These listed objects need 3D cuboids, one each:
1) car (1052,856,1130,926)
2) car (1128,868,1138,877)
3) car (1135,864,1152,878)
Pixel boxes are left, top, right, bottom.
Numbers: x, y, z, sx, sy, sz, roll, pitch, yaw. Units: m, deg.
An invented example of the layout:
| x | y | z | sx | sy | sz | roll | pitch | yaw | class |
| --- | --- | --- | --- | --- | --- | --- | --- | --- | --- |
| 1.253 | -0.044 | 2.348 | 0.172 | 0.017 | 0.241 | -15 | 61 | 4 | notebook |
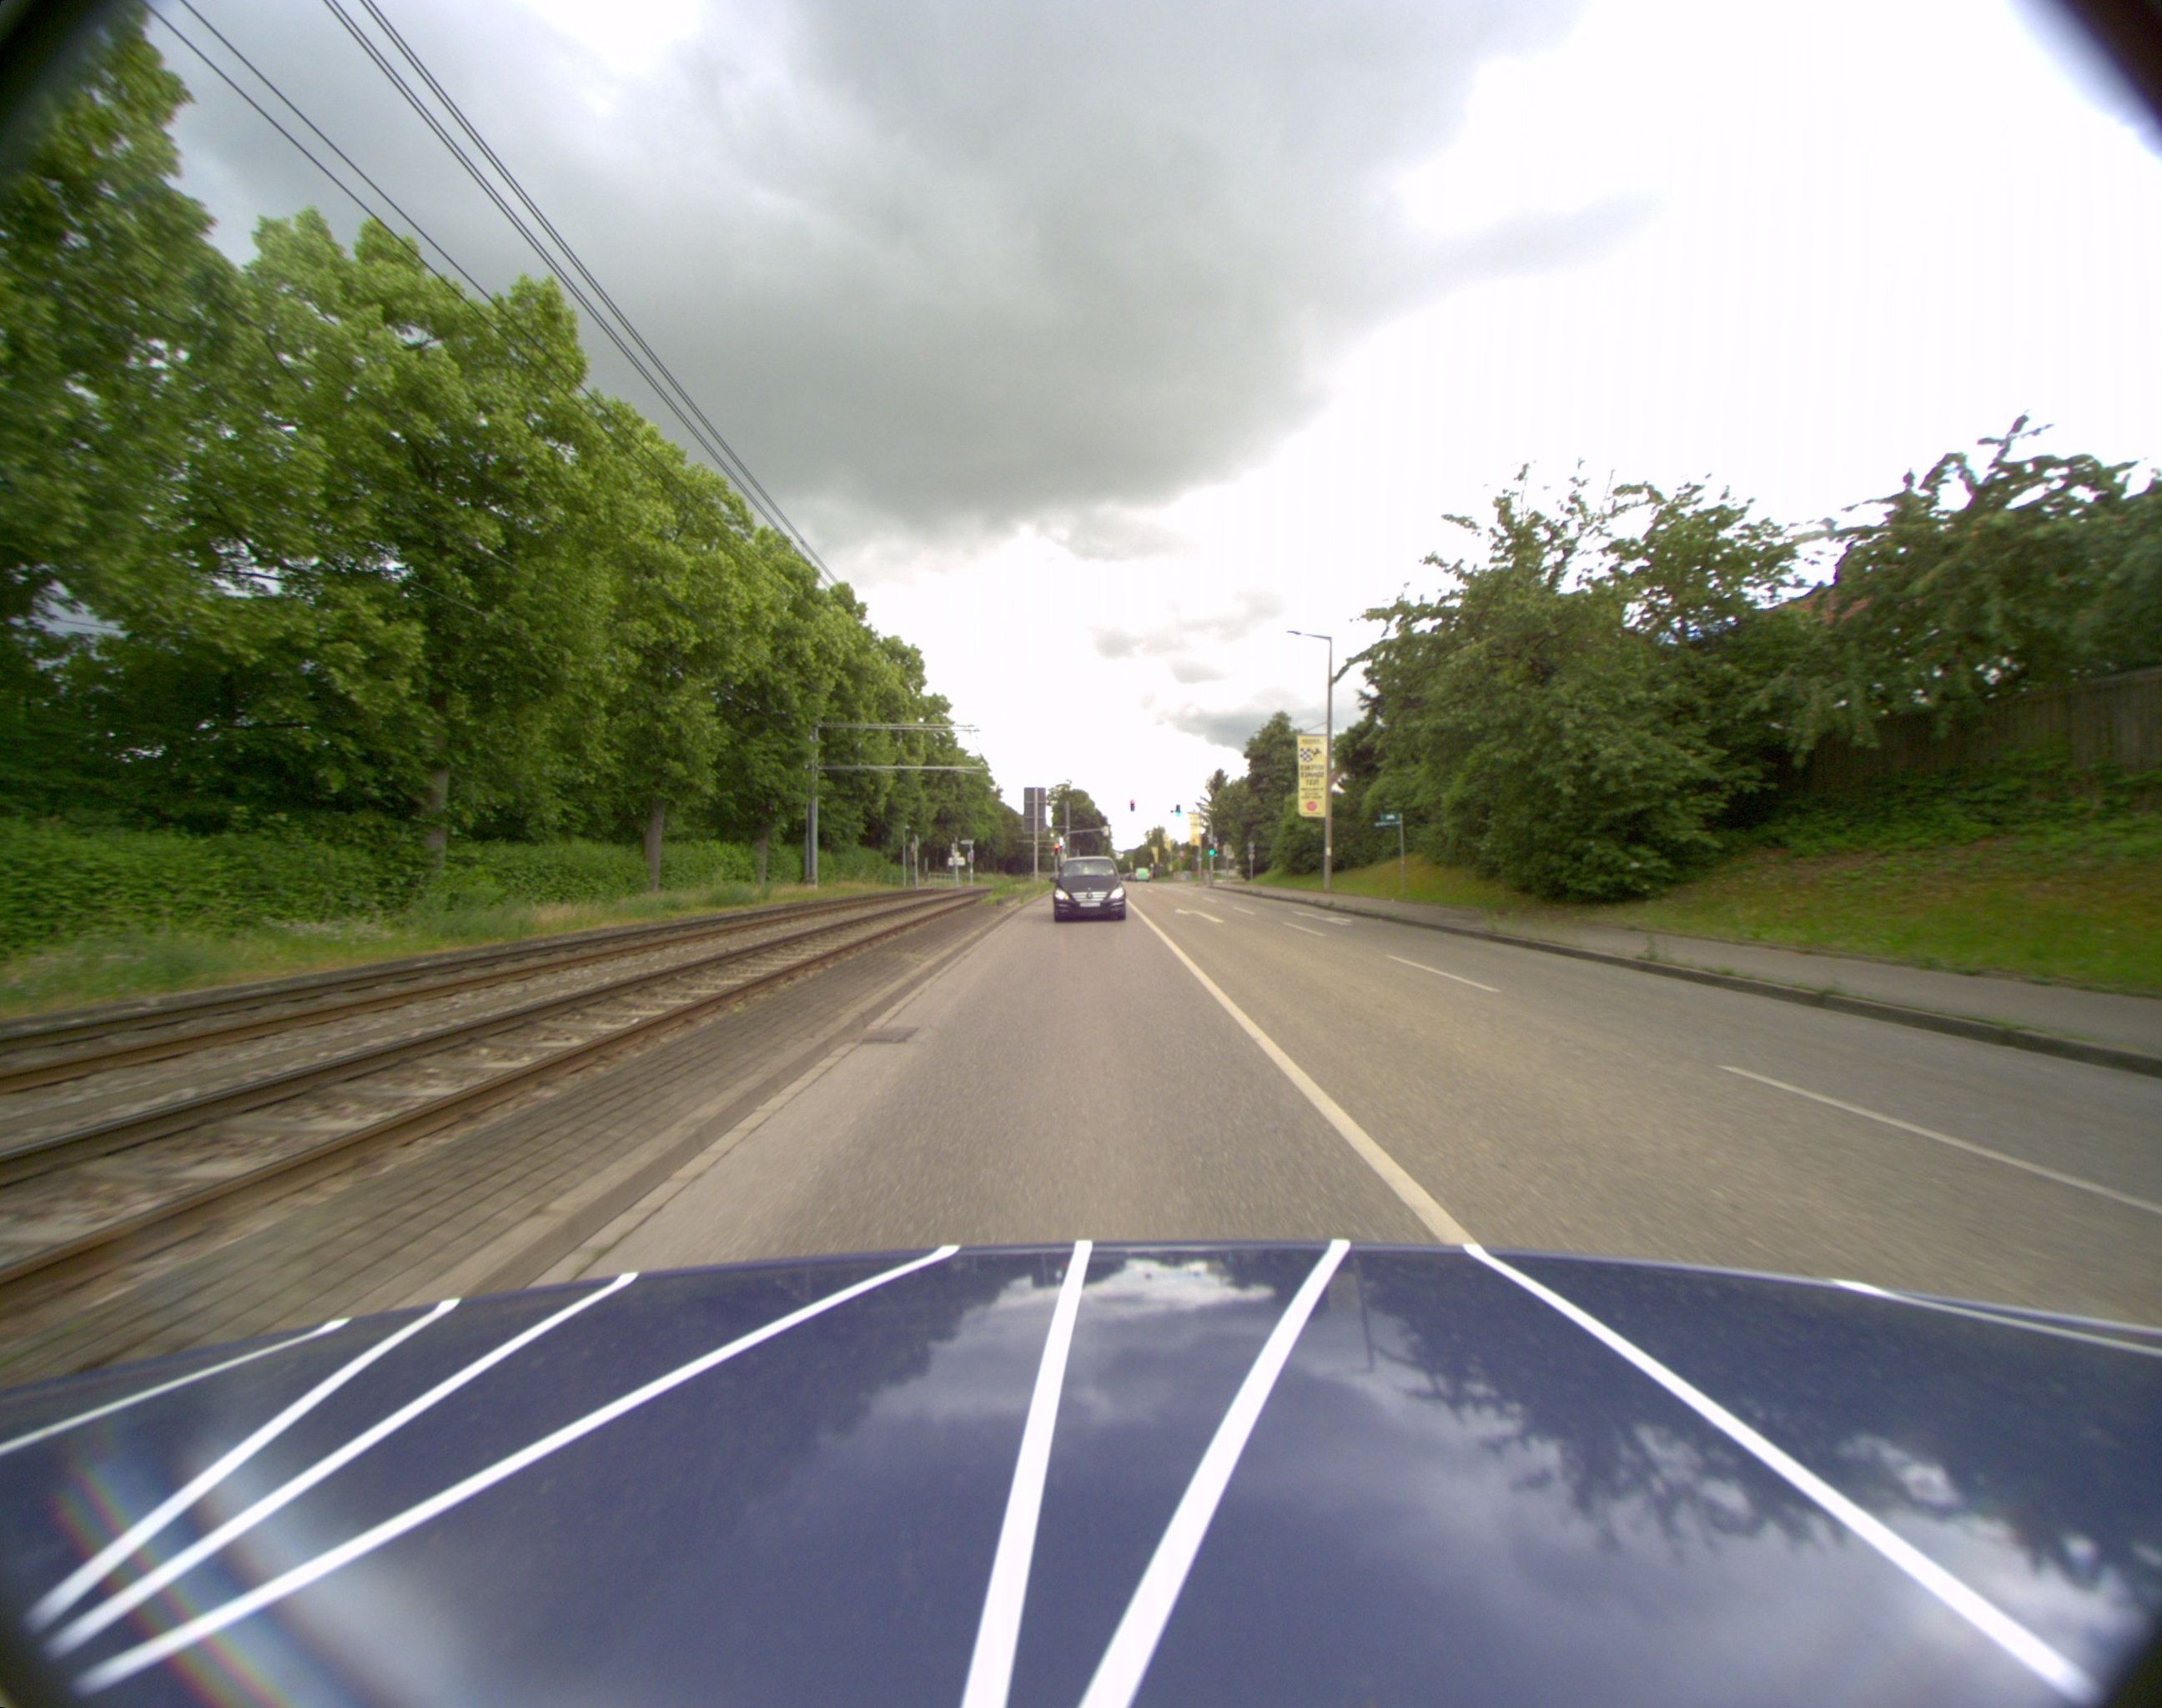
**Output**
| x | y | z | sx | sy | sz | roll | pitch | yaw | class |
| --- | --- | --- | --- | --- | --- | --- | --- | --- | --- |
| 0.248 | 0.881 | 19.799 | 1.749 | 1.558 | 4.121 | -3 | 0 | 1 | car |
| 10.214 | 3.704 | 149.878 | 1.903 | 1.570 | 4.279 | 1 | 0 | 3 | car |
| 8.667 | 2.367 | 105.544 | 2.063 | 1.799 | 4.730 | 1 | -1 | 1 | car |
